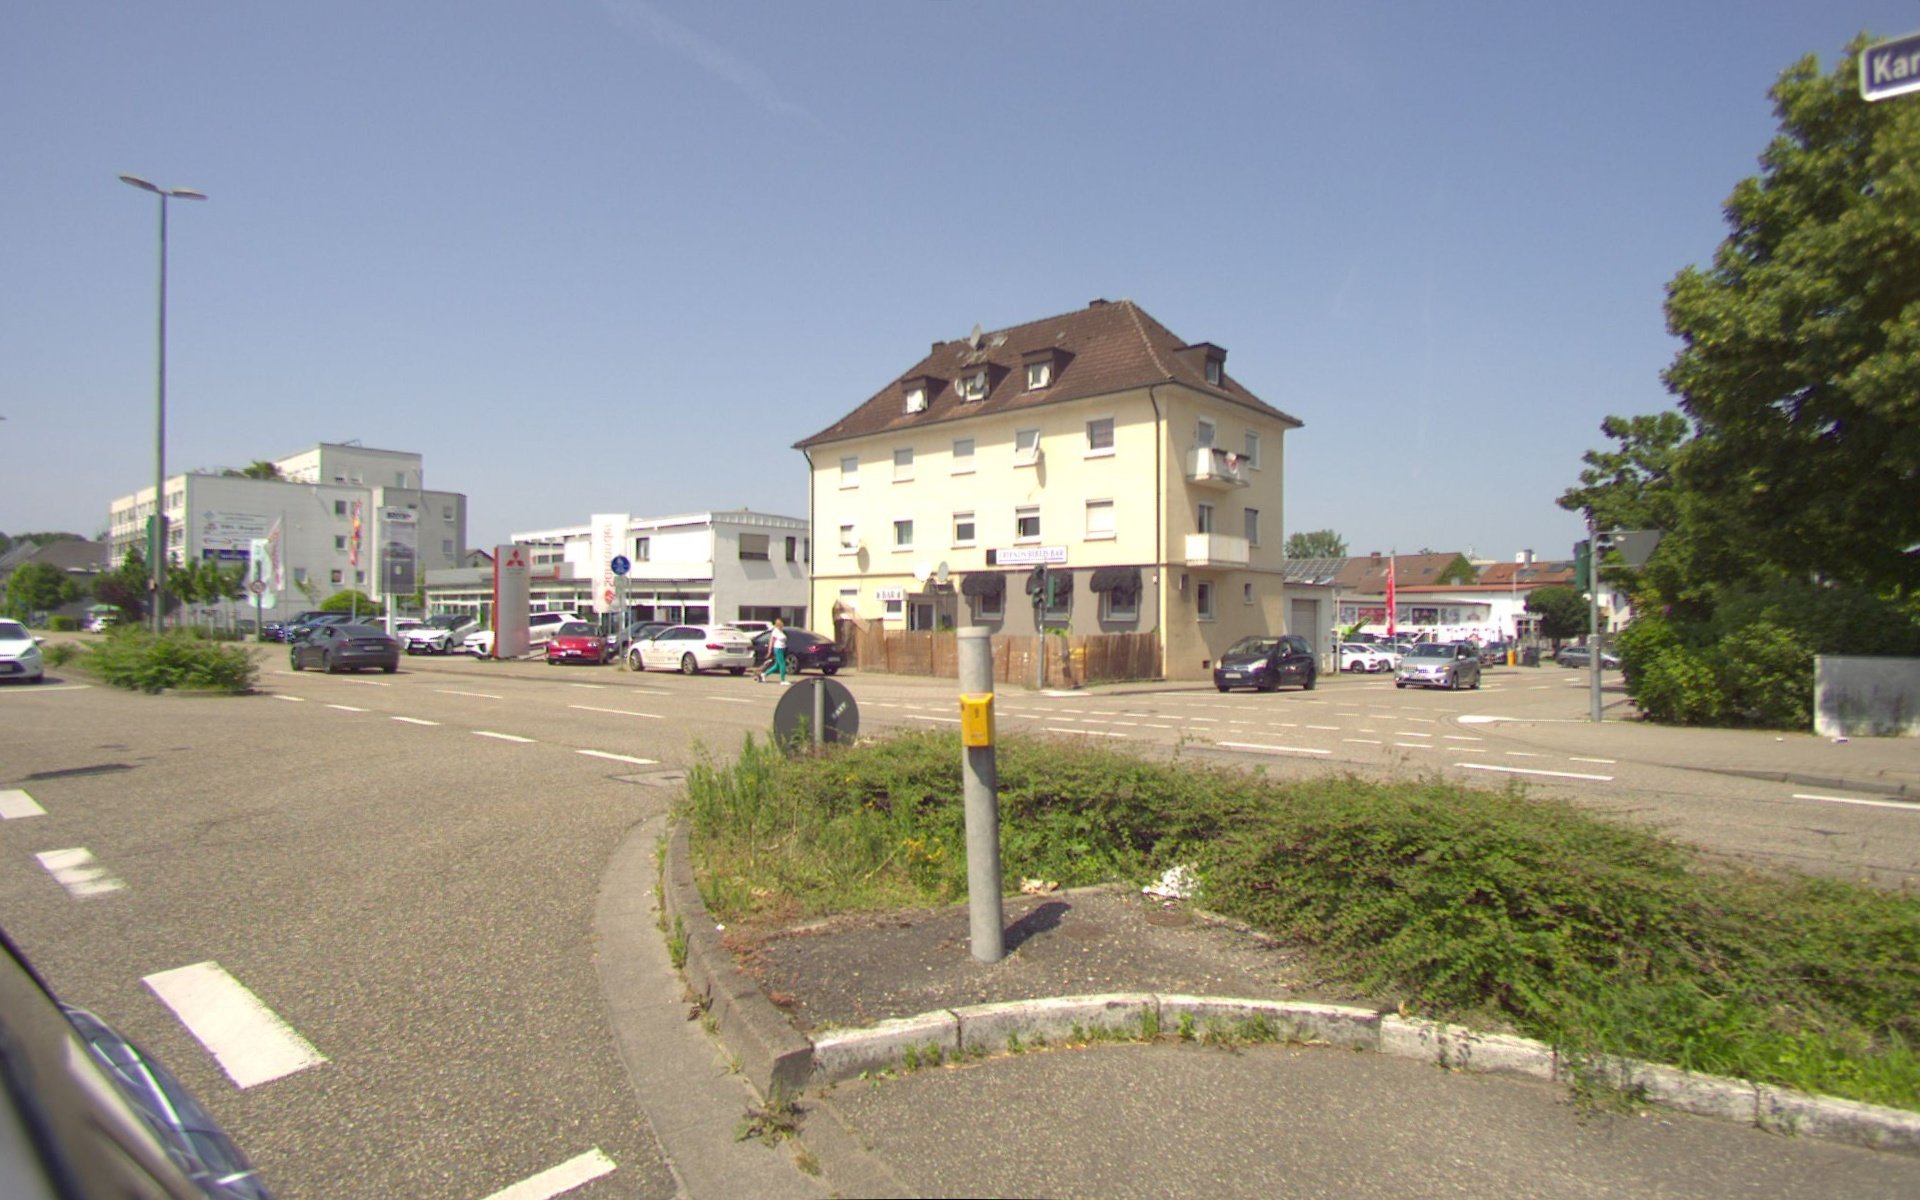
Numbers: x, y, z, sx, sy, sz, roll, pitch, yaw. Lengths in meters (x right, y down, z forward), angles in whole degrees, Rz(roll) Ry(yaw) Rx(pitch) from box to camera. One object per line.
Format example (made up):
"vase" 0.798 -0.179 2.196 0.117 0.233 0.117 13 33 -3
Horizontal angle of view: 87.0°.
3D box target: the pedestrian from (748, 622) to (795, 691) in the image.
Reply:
"pedestrian" -4.981 1.472 26.737 1.034 1.760 0.732 -1 -2 44

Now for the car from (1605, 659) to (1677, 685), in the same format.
"car" 49.692 5.260 73.883 1.969 1.719 4.005 2 -3 -41

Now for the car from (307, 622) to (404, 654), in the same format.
"car" -31.326 1.960 52.555 1.758 1.580 3.946 -1 -3 40

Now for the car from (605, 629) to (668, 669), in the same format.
"car" -12.521 1.858 39.019 1.622 1.437 4.013 1 -2 -27

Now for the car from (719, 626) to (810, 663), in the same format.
"car" -9.213 2.080 47.917 1.865 1.627 3.945 -1 -2 41

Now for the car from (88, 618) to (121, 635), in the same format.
"car" -77.220 2.370 91.353 3.663 1.460 1.674 -1 -1 40

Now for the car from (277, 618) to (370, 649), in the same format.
"car" -35.612 1.888 56.701 2.087 1.621 3.946 -1 -3 40

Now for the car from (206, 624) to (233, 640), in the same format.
"car" -63.558 2.719 86.842 2.833 1.350 1.436 -1 -2 44

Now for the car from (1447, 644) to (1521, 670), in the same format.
"car" 32.368 3.515 62.569 1.734 1.479 3.740 2 -3 -45

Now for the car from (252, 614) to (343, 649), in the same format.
"car" -38.094 1.804 58.248 1.998 1.896 3.946 -1 -2 40

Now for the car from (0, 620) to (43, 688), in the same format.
"car" -21.727 1.156 22.440 3.710 1.445 1.670 -1 -2 42

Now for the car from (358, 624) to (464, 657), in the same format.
"car" -25.470 1.862 47.051 1.758 1.478 3.946 -1 -2 40

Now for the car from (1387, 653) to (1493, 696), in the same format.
"car" 15.687 2.392 32.996 3.940 1.243 1.871 2 -2 -44

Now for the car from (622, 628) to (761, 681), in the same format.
"car" -8.123 1.606 30.360 4.759 1.421 1.756 -1 -4 43

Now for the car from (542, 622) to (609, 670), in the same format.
"car" -13.974 1.641 36.962 1.809 1.655 4.189 1 -1 -14

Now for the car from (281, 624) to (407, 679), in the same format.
"car" -18.468 1.497 30.268 4.499 1.497 1.972 -1 -2 42

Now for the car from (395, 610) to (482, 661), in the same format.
"car" -23.244 1.545 45.286 1.735 1.635 4.002 0 7 1

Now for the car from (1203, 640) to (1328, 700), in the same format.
"car" 9.102 2.029 30.045 3.940 1.624 1.871 2 -2 -44

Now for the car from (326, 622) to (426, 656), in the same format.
"car" -29.205 1.914 50.638 1.926 1.621 3.943 -1 -2 43

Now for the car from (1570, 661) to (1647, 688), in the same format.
"car" 44.166 5.028 69.016 1.968 1.630 4.007 2 -2 -39

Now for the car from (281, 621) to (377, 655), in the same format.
"car" -33.870 2.060 54.381 1.758 1.621 3.946 -1 -5 40

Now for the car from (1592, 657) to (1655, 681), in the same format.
"car" 52.886 5.462 80.723 3.998 1.697 1.973 -1 -2 41

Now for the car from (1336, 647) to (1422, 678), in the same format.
"car" 21.557 3.181 52.140 1.734 1.479 3.740 2 -3 -45

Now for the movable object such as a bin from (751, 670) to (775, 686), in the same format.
"movable object such as a bin" -5.234 2.075 26.888 0.506 0.375 0.412 -1 -2 43

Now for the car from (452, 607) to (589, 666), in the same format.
"car" -17.173 1.369 39.688 1.760 1.721 4.500 -1 5 42

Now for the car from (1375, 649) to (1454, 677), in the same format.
"car" 26.109 3.606 58.210 1.734 1.479 3.740 2 -3 -45

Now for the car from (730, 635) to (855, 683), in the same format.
"car" -5.354 1.826 32.147 3.995 1.361 1.715 -1 -2 39

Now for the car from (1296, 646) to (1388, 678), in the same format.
"car" 19.033 3.067 50.546 4.001 1.464 1.670 -1 -3 44

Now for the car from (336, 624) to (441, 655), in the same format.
"car" -27.350 1.887 48.516 1.859 1.405 3.946 -1 -2 40
